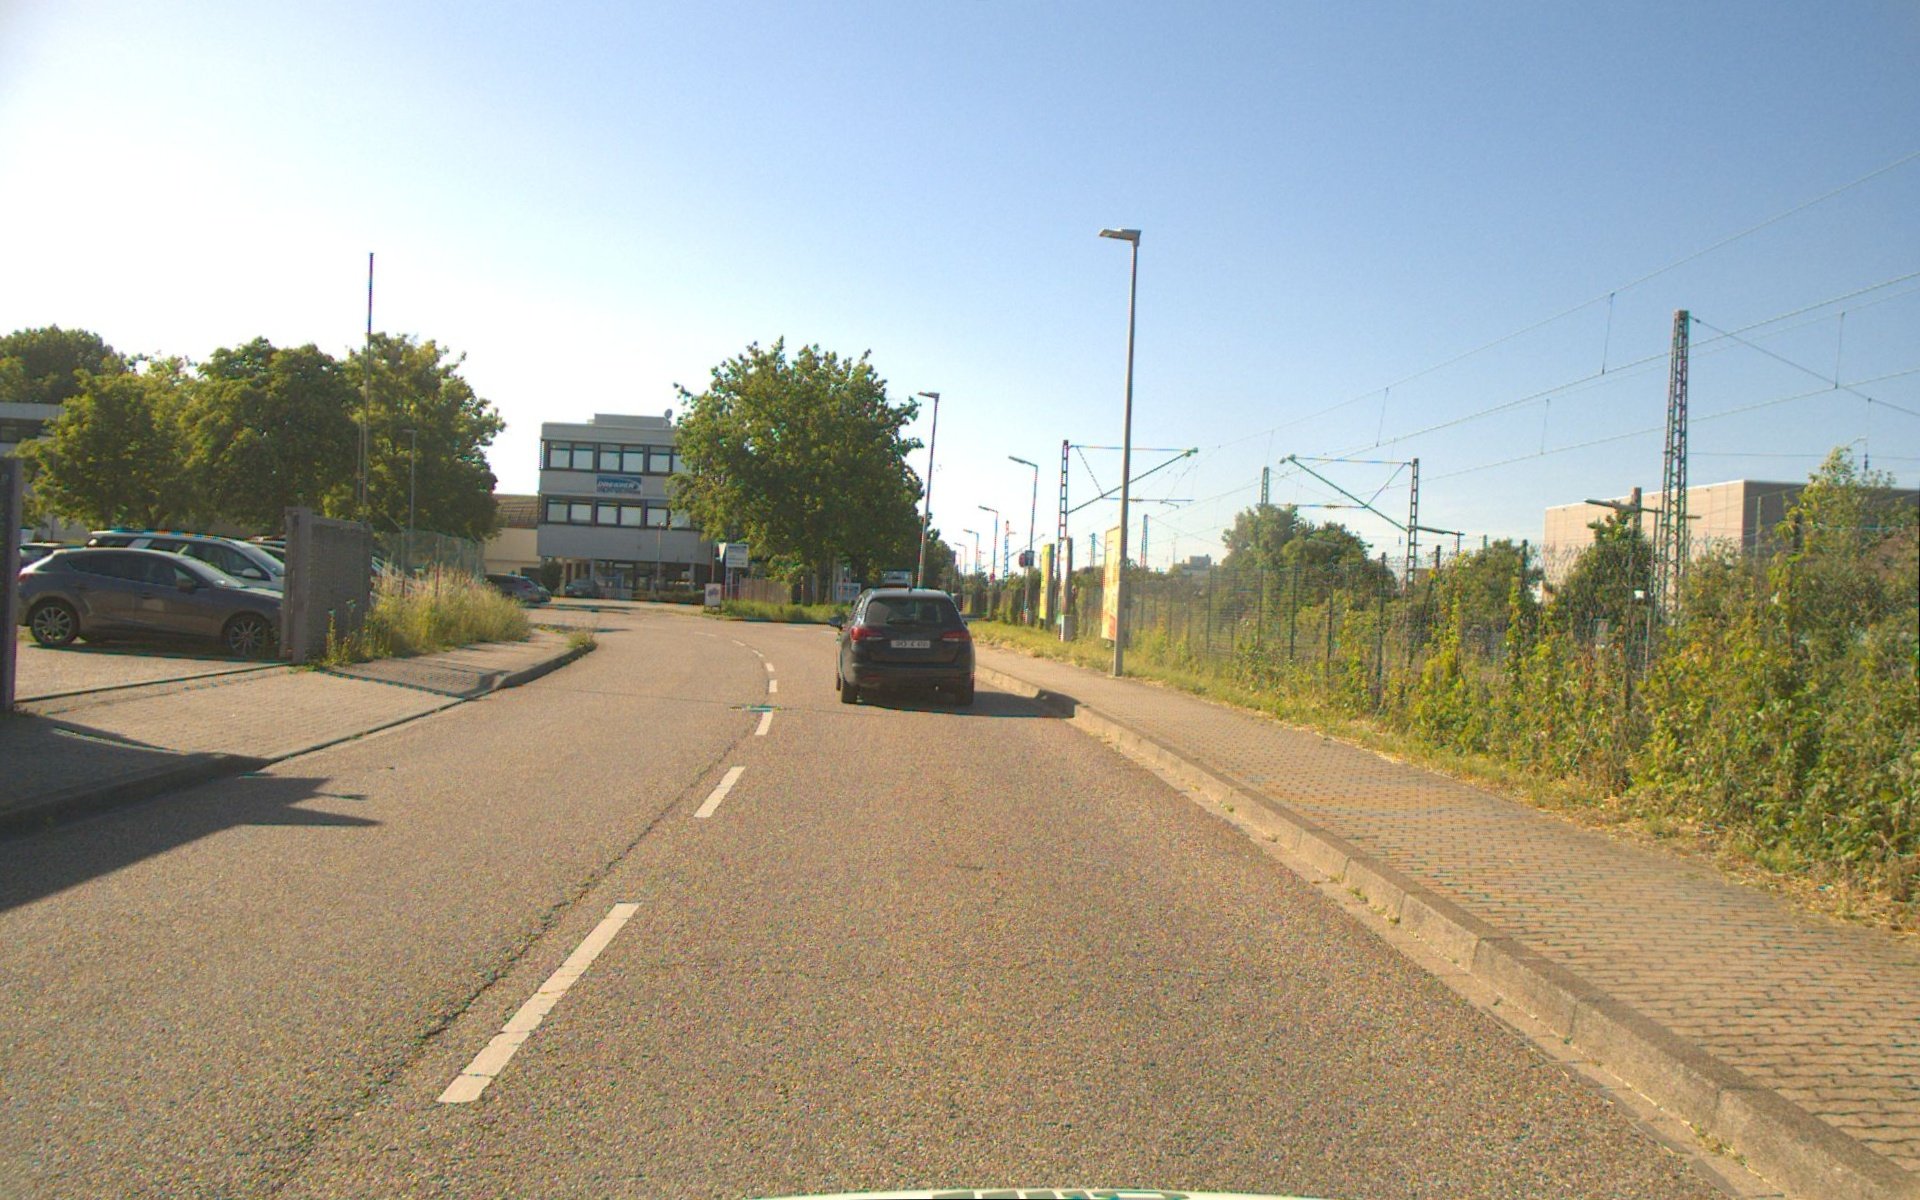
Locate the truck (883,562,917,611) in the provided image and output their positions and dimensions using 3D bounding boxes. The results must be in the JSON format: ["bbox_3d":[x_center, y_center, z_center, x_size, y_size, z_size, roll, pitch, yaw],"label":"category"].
[{"bbox_3d":[-5.302,-1.141,145.093,2.561,3.952,13.524,3,0,-3],"label":"truck"}]

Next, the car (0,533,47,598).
[{"bbox_3d":[-26.611,-0.974,43.303,4.309,1.677,1.836,2,0,-10],"label":"car"}]

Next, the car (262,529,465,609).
[{"bbox_3d":[-15.995,-0.814,44.474,4.800,1.925,1.816,2,0,-38],"label":"car"}]

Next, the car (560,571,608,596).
[{"bbox_3d":[-25.360,-1.143,111.768,1.952,1.510,4.928,2,1,2],"label":"car"}]

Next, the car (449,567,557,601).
[{"bbox_3d":[-22.879,-0.783,82.923,4.811,1.510,1.999,2,0,-2],"label":"car"}]

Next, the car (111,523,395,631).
[{"bbox_3d":[-12.430,-0.398,29.355,4.314,1.677,1.834,2,0,-14],"label":"car"}]

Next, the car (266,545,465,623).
[{"bbox_3d":[-14.212,-0.373,39.619,4.328,1.677,1.829,2,0,-22],"label":"car"}]

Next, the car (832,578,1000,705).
[{"bbox_3d":[-0.716,0.489,22.720,1.905,1.514,4.559,1,1,-6],"label":"car"}]

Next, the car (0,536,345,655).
[{"bbox_3d":[-11.670,-0.066,24.665,4.306,1.533,1.837,2,0,-8],"label":"car"}]

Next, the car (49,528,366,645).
[{"bbox_3d":[-12.136,-0.210,26.953,4.311,1.677,1.835,2,0,-12],"label":"car"}]

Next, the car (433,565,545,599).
[{"bbox_3d":[-22.827,-0.870,80.321,4.811,1.451,1.999,2,0,-2],"label":"car"}]

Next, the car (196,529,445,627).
[{"bbox_3d":[-12.389,-0.412,32.324,4.318,1.677,1.832,2,0,-16],"label":"car"}]

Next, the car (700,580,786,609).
[{"bbox_3d":[-13.169,-0.355,100.584,4.808,1.510,2.001,2,1,3],"label":"car"}]

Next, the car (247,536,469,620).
[{"bbox_3d":[-13.419,-0.481,36.953,4.349,1.677,1.819,2,0,-33],"label":"car"}]

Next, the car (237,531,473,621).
[{"bbox_3d":[-12.722,-0.486,34.847,4.349,1.677,1.819,2,0,-33],"label":"car"}]
